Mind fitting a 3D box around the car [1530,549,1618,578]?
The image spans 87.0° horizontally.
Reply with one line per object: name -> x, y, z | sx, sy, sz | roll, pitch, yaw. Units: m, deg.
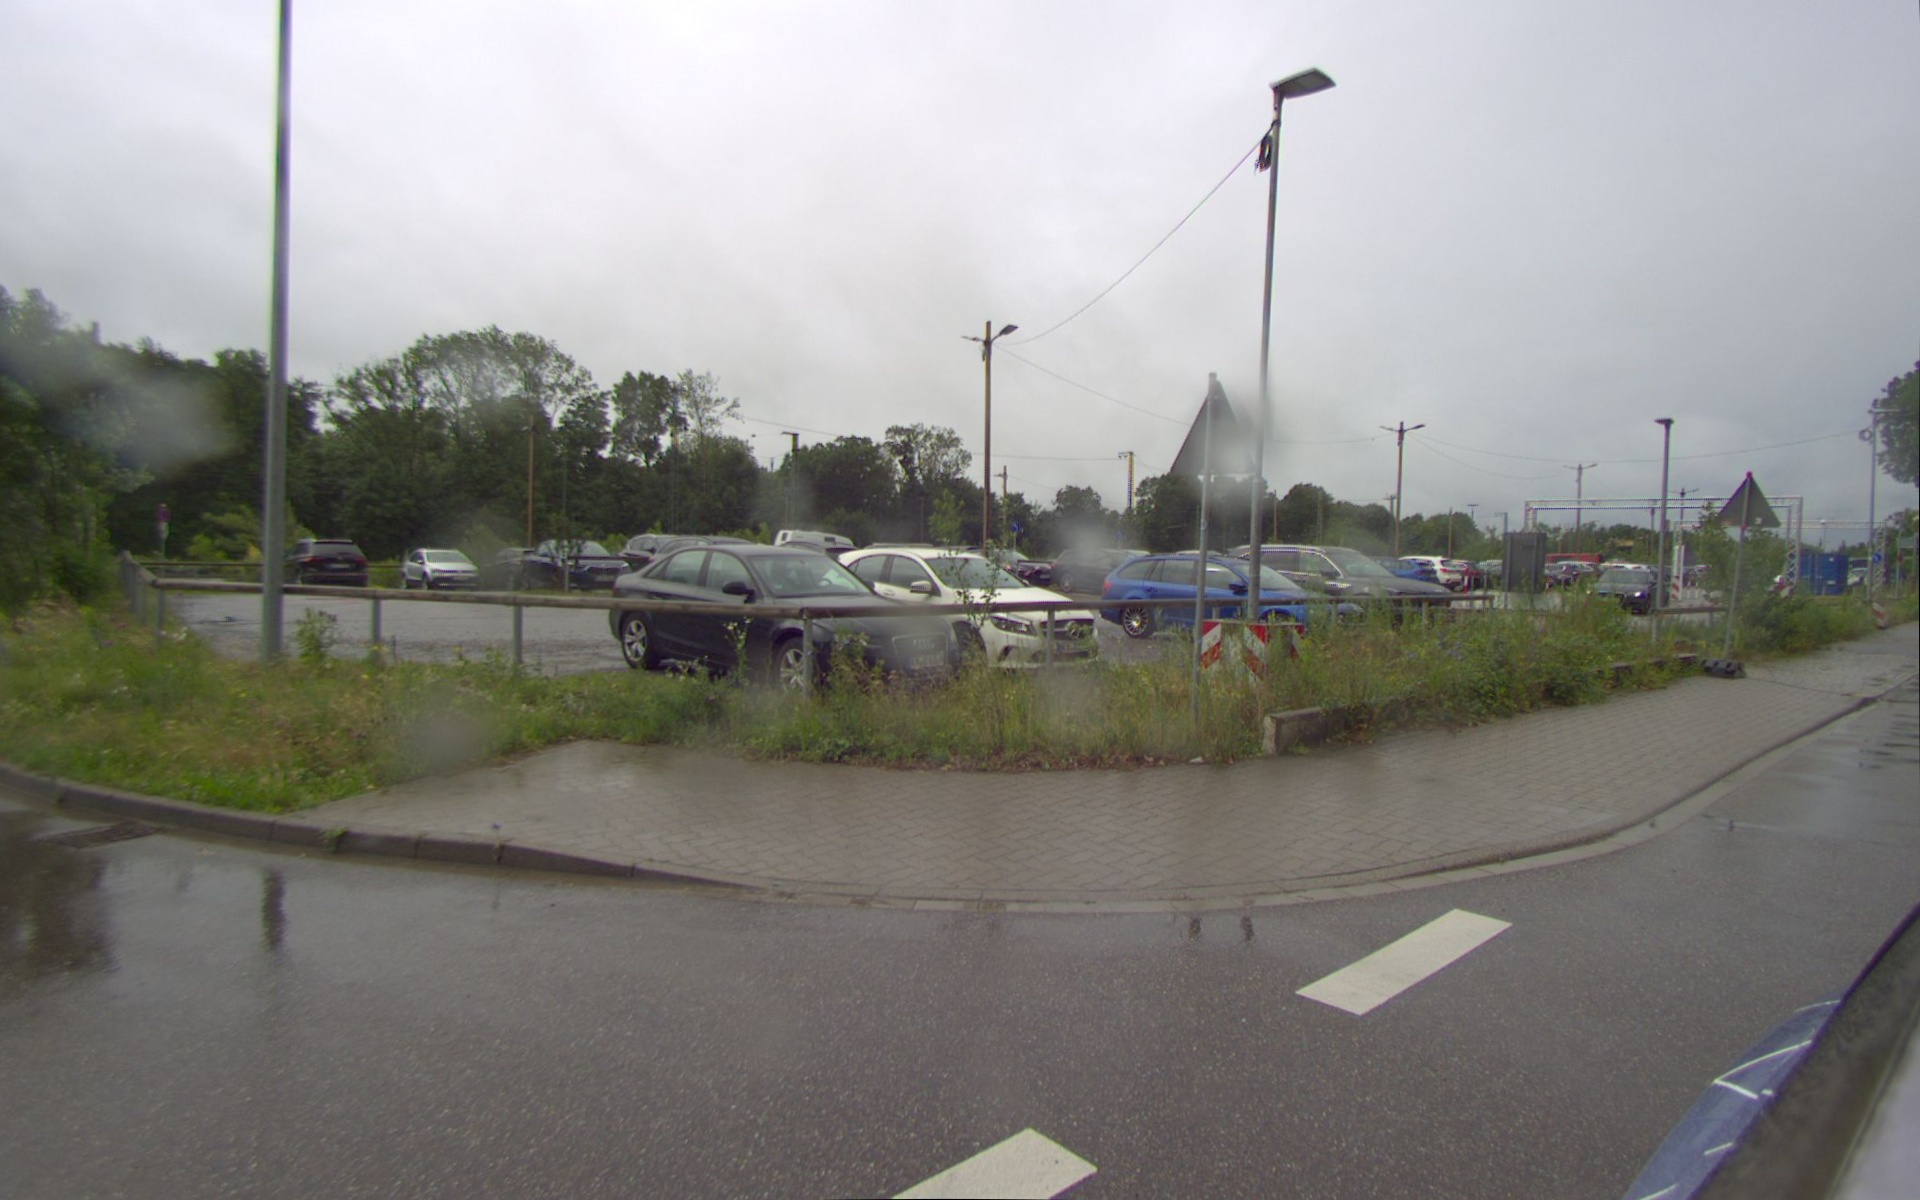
car -> 35.601, -2.147, 58.780 | 1.837, 1.507, 3.963 | -3, 5, -39

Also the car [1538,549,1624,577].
car -> 37.087, -2.260, 60.477 | 1.837, 1.507, 3.963 | -3, 5, -39

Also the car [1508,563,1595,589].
car -> 33.293, -1.381, 57.058 | 1.617, 1.235, 3.902 | -3, 5, -36

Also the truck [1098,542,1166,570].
truck -> 12.822, -3.267, 75.358 | 5.186, 2.038, 2.086 | -2, 3, -40

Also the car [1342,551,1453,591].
car -> 19.329, -1.344, 44.848 | 1.893, 1.501, 4.058 | -3, 6, -38

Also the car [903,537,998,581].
car -> -0.510, -2.008, 48.870 | 1.986, 2.023, 4.794 | -2, 3, -40

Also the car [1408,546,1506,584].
car -> 23.684, -1.703, 48.314 | 1.754, 1.602, 3.787 | -3, 6, -38

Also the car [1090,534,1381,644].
car -> 4.315, -0.233, 16.417 | 1.788, 1.535, 4.304 | -4, 3, -40

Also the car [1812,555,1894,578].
car -> 56.288, -2.103, 63.818 | 1.875, 1.410, 3.775 | -4, 3, -43

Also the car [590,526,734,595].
car -> -8.281, -1.167, 27.887 | 2.011, 1.691, 4.447 | -4, 7, -43

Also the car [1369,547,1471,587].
car -> 21.332, -1.578, 47.028 | 1.754, 1.602, 3.915 | -3, 6, -38

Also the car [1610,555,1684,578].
car -> 48.663, -2.399, 71.754 | 1.854, 1.444, 3.963 | -3, 5, -39

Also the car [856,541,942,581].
car -> -2.910, -1.871, 47.676 | 3.983, 1.790, 1.765 | 2, 3, 40

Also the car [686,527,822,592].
car -> -6.150, -1.273, 29.922 | 2.009, 1.691, 4.450 | -4, 6, -41

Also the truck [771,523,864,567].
truck -> -8.165, -3.122, 58.075 | 4.997, 2.431, 2.076 | -2, 3, -42

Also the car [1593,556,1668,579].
car -> 46.767, -2.285, 70.630 | 1.854, 1.444, 3.963 | -3, 5, -39

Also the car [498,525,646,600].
car -> -10.030, -1.040, 25.997 | 2.011, 1.691, 4.447 | -4, 7, -43

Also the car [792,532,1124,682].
car -> -0.182, -0.006, 12.615 | 1.858, 1.528, 4.190 | -4, 3, -40

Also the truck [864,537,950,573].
truck -> -3.232, -2.779, 62.417 | 4.990, 2.164, 2.079 | -2, 3, -37

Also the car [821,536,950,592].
car -> -2.538, -1.253, 33.697 | 2.009, 1.624, 4.450 | -4, 6, -41

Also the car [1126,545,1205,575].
car -> 12.258, -2.437, 60.633 | 1.988, 1.741, 4.323 | -2, 4, -43

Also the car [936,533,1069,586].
car -> 1.423, -1.484, 35.834 | 2.009, 1.624, 4.712 | -4, 6, -41

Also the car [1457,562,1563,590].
car -> 29.530, -1.335, 54.456 | 1.945, 1.235, 4.596 | -4, 6, -42

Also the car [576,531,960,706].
car -> -2.186, 0.020, 10.845 | 4.215, 1.416, 1.863 | 5, 6, 41

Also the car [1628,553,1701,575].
car -> 51.292, -2.630, 73.721 | 1.854, 1.444, 3.963 | -3, 5, -39

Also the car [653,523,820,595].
car -> -4.989, -0.892, 22.258 | 1.965, 1.426, 3.995 | -4, 3, -40

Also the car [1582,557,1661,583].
car -> 43.291, -1.973, 66.323 | 1.746, 1.507, 3.963 | -3, 5, -39

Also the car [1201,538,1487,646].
car -> 7.080, -0.280, 19.158 | 2.089, 1.755, 4.696 | -3, 5, -36

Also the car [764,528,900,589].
car -> -3.996, -1.340, 31.088 | 2.009, 1.624, 4.450 | -4, 6, -41

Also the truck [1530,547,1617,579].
truck -> 47.438, -2.900, 78.345 | 2.116, 2.396, 5.298 | -2, 4, -41

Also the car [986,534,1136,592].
car -> 3.219, -1.195, 32.964 | 4.619, 1.737, 1.988 | 1, 3, 44

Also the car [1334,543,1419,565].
car -> 23.392, -2.613, 56.964 | 1.802, 1.084, 4.067 | -4, 7, -42

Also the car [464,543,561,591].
car -> -15.838, -1.185, 35.708 | 1.908, 1.588, 4.596 | 0, 2, -41

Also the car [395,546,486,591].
car -> -17.493, -1.058, 34.014 | 1.858, 1.414, 3.995 | 0, 2, -41

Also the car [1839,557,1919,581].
car -> 58.963, -2.007, 64.782 | 1.875, 1.440, 3.899 | -4, 3, -43

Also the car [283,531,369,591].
car -> -19.768, -1.209, 31.498 | 1.856, 1.742, 3.997 | 0, 2, -38

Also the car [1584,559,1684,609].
car -> 22.296, -0.542, 33.418 | 4.158, 1.474, 1.896 | -1, 3, -45

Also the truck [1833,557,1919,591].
truck -> 68.751, -1.983, 75.698 | 2.076, 2.432, 5.038 | -3, 3, -43
